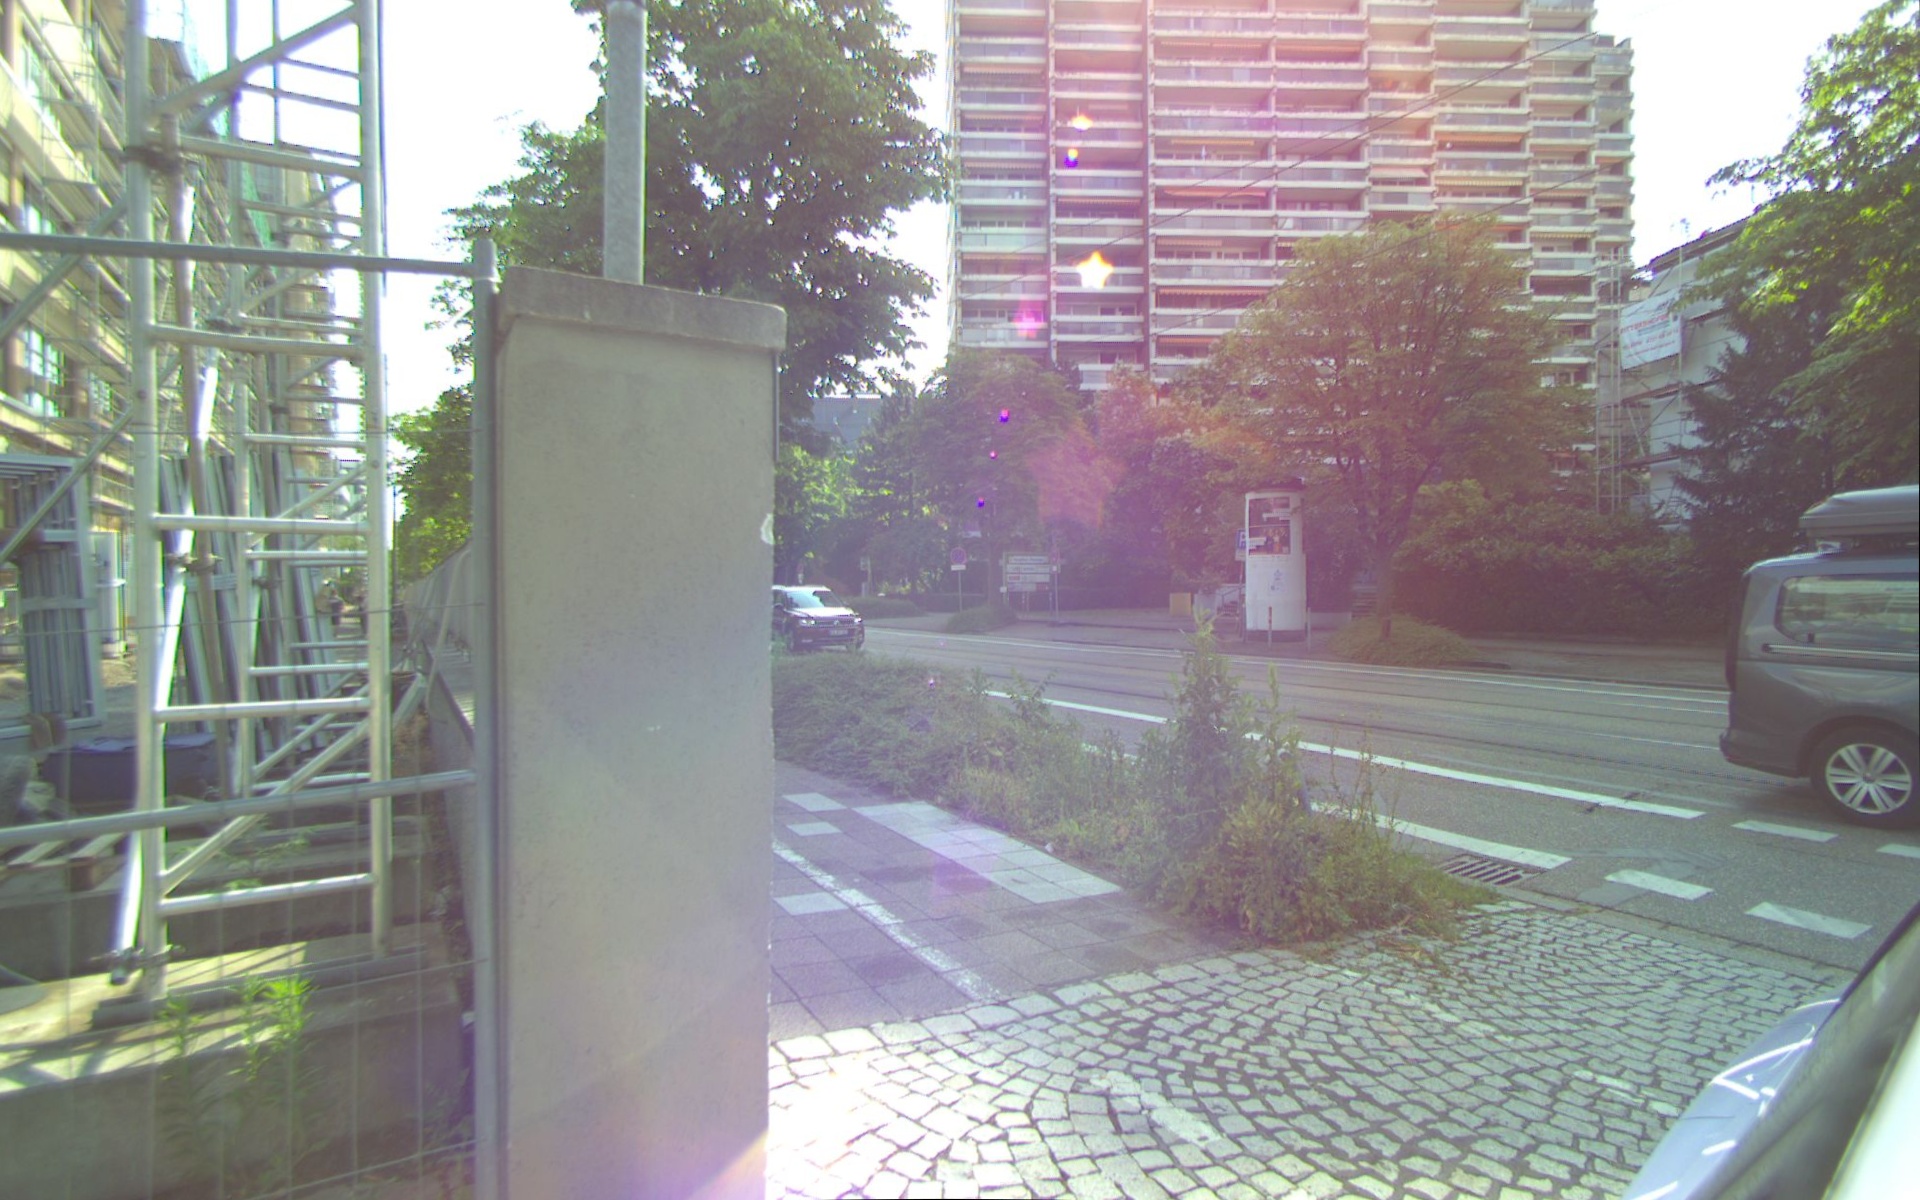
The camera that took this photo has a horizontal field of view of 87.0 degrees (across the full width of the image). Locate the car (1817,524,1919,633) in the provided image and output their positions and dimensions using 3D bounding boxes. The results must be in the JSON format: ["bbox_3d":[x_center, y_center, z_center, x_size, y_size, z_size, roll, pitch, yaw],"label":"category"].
[{"bbox_3d":[14.178,-0.320,14.267,1.736,1.481,3.976,-2,-1,18],"label":"car"}]

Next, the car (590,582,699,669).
[{"bbox_3d":[-6.771,0.584,21.407,1.734,1.628,4.464,0,-3,-23],"label":"car"}]

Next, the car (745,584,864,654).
[{"bbox_3d":[-4.043,0.480,25.810,1.646,1.632,3.973,0,-1,-30],"label":"car"}]

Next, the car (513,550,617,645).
[{"bbox_3d":[-12.134,0.022,30.834,2.087,2.601,5.924,2,-2,-29],"label":"car"}]

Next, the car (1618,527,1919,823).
[{"bbox_3d":[6.981,0.419,5.975,1.908,1.796,4.843,-3,1,-29],"label":"car"}]
